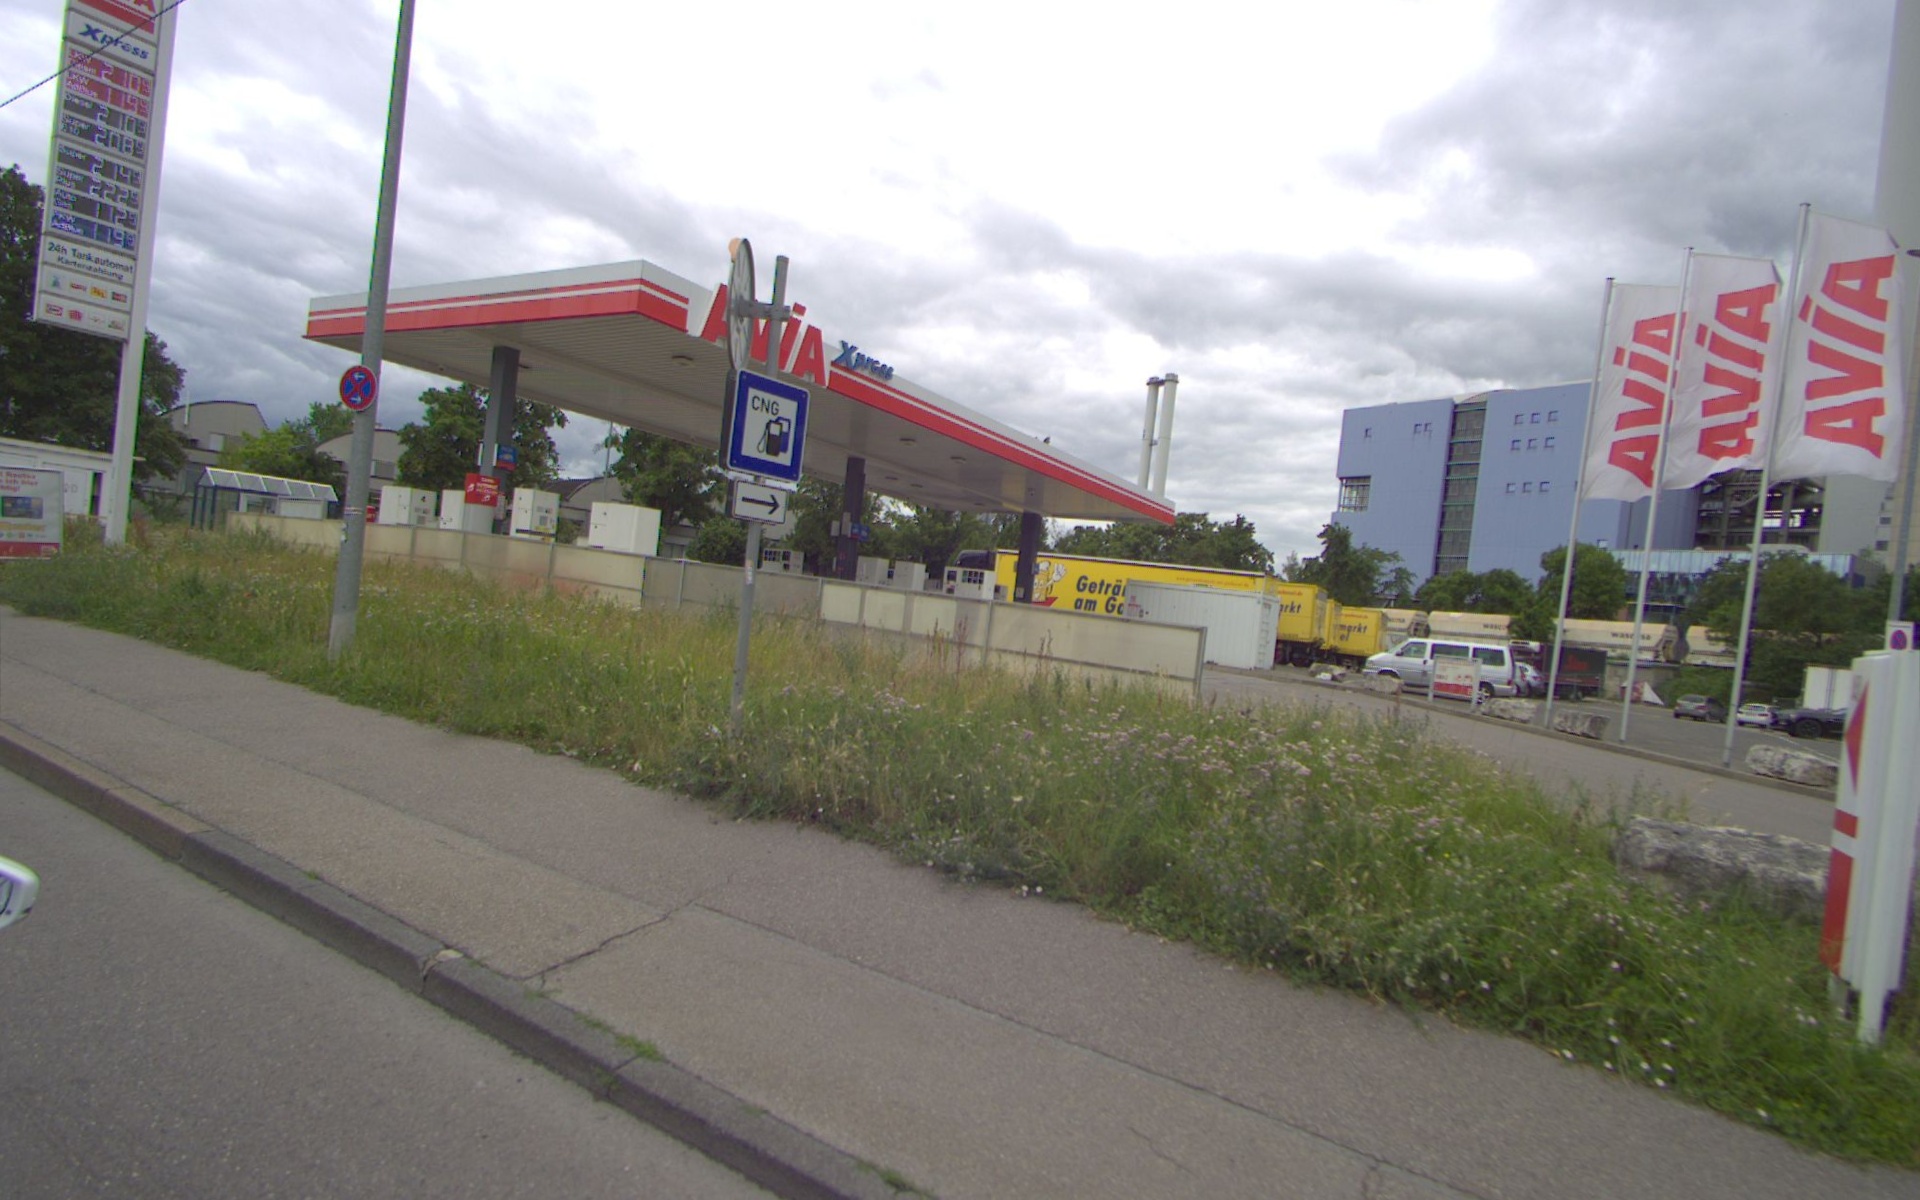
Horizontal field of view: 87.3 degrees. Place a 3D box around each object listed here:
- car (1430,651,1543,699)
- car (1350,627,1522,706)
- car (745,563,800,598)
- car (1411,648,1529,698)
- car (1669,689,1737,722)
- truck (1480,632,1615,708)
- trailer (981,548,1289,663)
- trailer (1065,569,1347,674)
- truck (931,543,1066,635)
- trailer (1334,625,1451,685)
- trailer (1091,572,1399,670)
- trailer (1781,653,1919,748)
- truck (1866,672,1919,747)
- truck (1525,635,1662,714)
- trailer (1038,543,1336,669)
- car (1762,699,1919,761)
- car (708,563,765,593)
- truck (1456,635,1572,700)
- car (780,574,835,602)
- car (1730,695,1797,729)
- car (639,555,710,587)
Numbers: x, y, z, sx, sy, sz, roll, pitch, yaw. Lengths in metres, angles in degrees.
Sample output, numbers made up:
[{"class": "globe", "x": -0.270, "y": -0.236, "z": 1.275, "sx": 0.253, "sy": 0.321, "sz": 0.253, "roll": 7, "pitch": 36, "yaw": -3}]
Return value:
[{"class": "car", "x": 25.407, "y": 3.609, "z": 48.598, "sx": 4.611, "sy": 1.621, "sz": 1.985, "roll": 7, "pitch": 1, "yaw": 32}, {"class": "car", "x": 15.950, "y": 2.194, "z": 33.795, "sx": 4.869, "sy": 1.936, "sz": 1.985, "roll": 7, "pitch": 1, "yaw": 32}, {"class": "car", "x": -14.127, "y": -1.481, "z": 75.546, "sx": 2.082, "sy": 2.130, "sz": 4.854, "roll": 6, "pitch": 1, "yaw": -36}, {"class": "car", "x": 23.625, "y": 3.367, "z": 46.643, "sx": 4.611, "sy": 1.621, "sz": 1.985, "roll": 7, "pitch": 1, "yaw": 32}, {"class": "car", "x": 46.738, "y": 6.629, "z": 63.239, "sx": 4.647, "sy": 1.620, "sz": 1.970, "roll": 7, "pitch": 0, "yaw": -36}, {"class": "truck", "x": 42.225, "y": 5.079, "z": 72.093, "sx": 11.855, "sy": 4.343, "sz": 2.848, "roll": 7, "pitch": -1, "yaw": -32}, {"class": "trailer", "x": 7.985, "y": 0.117, "z": 48.055, "sx": 14.064, "sy": 3.965, "sz": 3.002, "roll": 7, "pitch": 1, "yaw": 31}, {"class": "trailer", "x": 13.945, "y": 1.099, "z": 58.599, "sx": 15.463, "sy": 4.315, "sz": 3.022, "roll": 7, "pitch": 1, "yaw": 31}, {"class": "truck", "x": 1.959, "y": -0.578, "z": 51.752, "sx": 5.940, "sy": 3.965, "sz": 2.959, "roll": 7, "pitch": 1, "yaw": 31}, {"class": "trailer", "x": 40.493, "y": 5.167, "z": 93.987, "sx": 12.457, "sy": 4.355, "sz": 3.527, "roll": 7, "pitch": -1, "yaw": -34}, {"class": "trailer", "x": 16.890, "y": 1.117, "z": 61.471, "sx": 17.771, "sy": 3.965, "sz": 2.692, "roll": 7, "pitch": 1, "yaw": 31}, {"class": "trailer", "x": 55.508, "y": 6.367, "z": 60.955, "sx": 18.113, "sy": 4.555, "sz": 3.527, "roll": 7, "pitch": -1, "yaw": -34}, {"class": "truck", "x": 63.090, "y": 7.361, "z": 66.059, "sx": 6.589, "sy": 4.487, "sz": 3.517, "roll": 7, "pitch": 0, "yaw": -34}, {"class": "truck", "x": 43.886, "y": 5.224, "z": 69.489, "sx": 11.855, "sy": 4.343, "sz": 2.848, "roll": 7, "pitch": -1, "yaw": -32}, {"class": "trailer", "x": 11.079, "y": 0.143, "z": 50.738, "sx": 14.064, "sy": 4.783, "sz": 3.002, "roll": 7, "pitch": 1, "yaw": 31}, {"class": "car", "x": 30.277, "y": 4.407, "z": 33.983, "sx": 4.607, "sy": 1.386, "sz": 1.985, "roll": 7, "pitch": 0, "yaw": 32}, {"class": "car", "x": -16.457, "y": -1.598, "z": 73.771, "sx": 2.084, "sy": 1.759, "sz": 4.831, "roll": 6, "pitch": 0, "yaw": -38}, {"class": "truck", "x": 46.417, "y": 5.715, "z": 84.074, "sx": 11.855, "sy": 4.343, "sz": 2.848, "roll": 7, "pitch": -1, "yaw": -32}, {"class": "car", "x": -11.683, "y": -0.942, "z": 76.868, "sx": 2.082, "sy": 1.672, "sz": 4.916, "roll": 6, "pitch": 0, "yaw": -36}, {"class": "car", "x": 49.659, "y": 6.952, "z": 62.160, "sx": 4.647, "sy": 1.620, "sz": 1.970, "roll": 7, "pitch": 0, "yaw": -36}, {"class": "car", "x": -19.630, "y": -2.000, "z": 69.103, "sx": 4.576, "sy": 1.666, "sz": 1.963, "roll": 6, "pitch": 1, "yaw": 32}]
